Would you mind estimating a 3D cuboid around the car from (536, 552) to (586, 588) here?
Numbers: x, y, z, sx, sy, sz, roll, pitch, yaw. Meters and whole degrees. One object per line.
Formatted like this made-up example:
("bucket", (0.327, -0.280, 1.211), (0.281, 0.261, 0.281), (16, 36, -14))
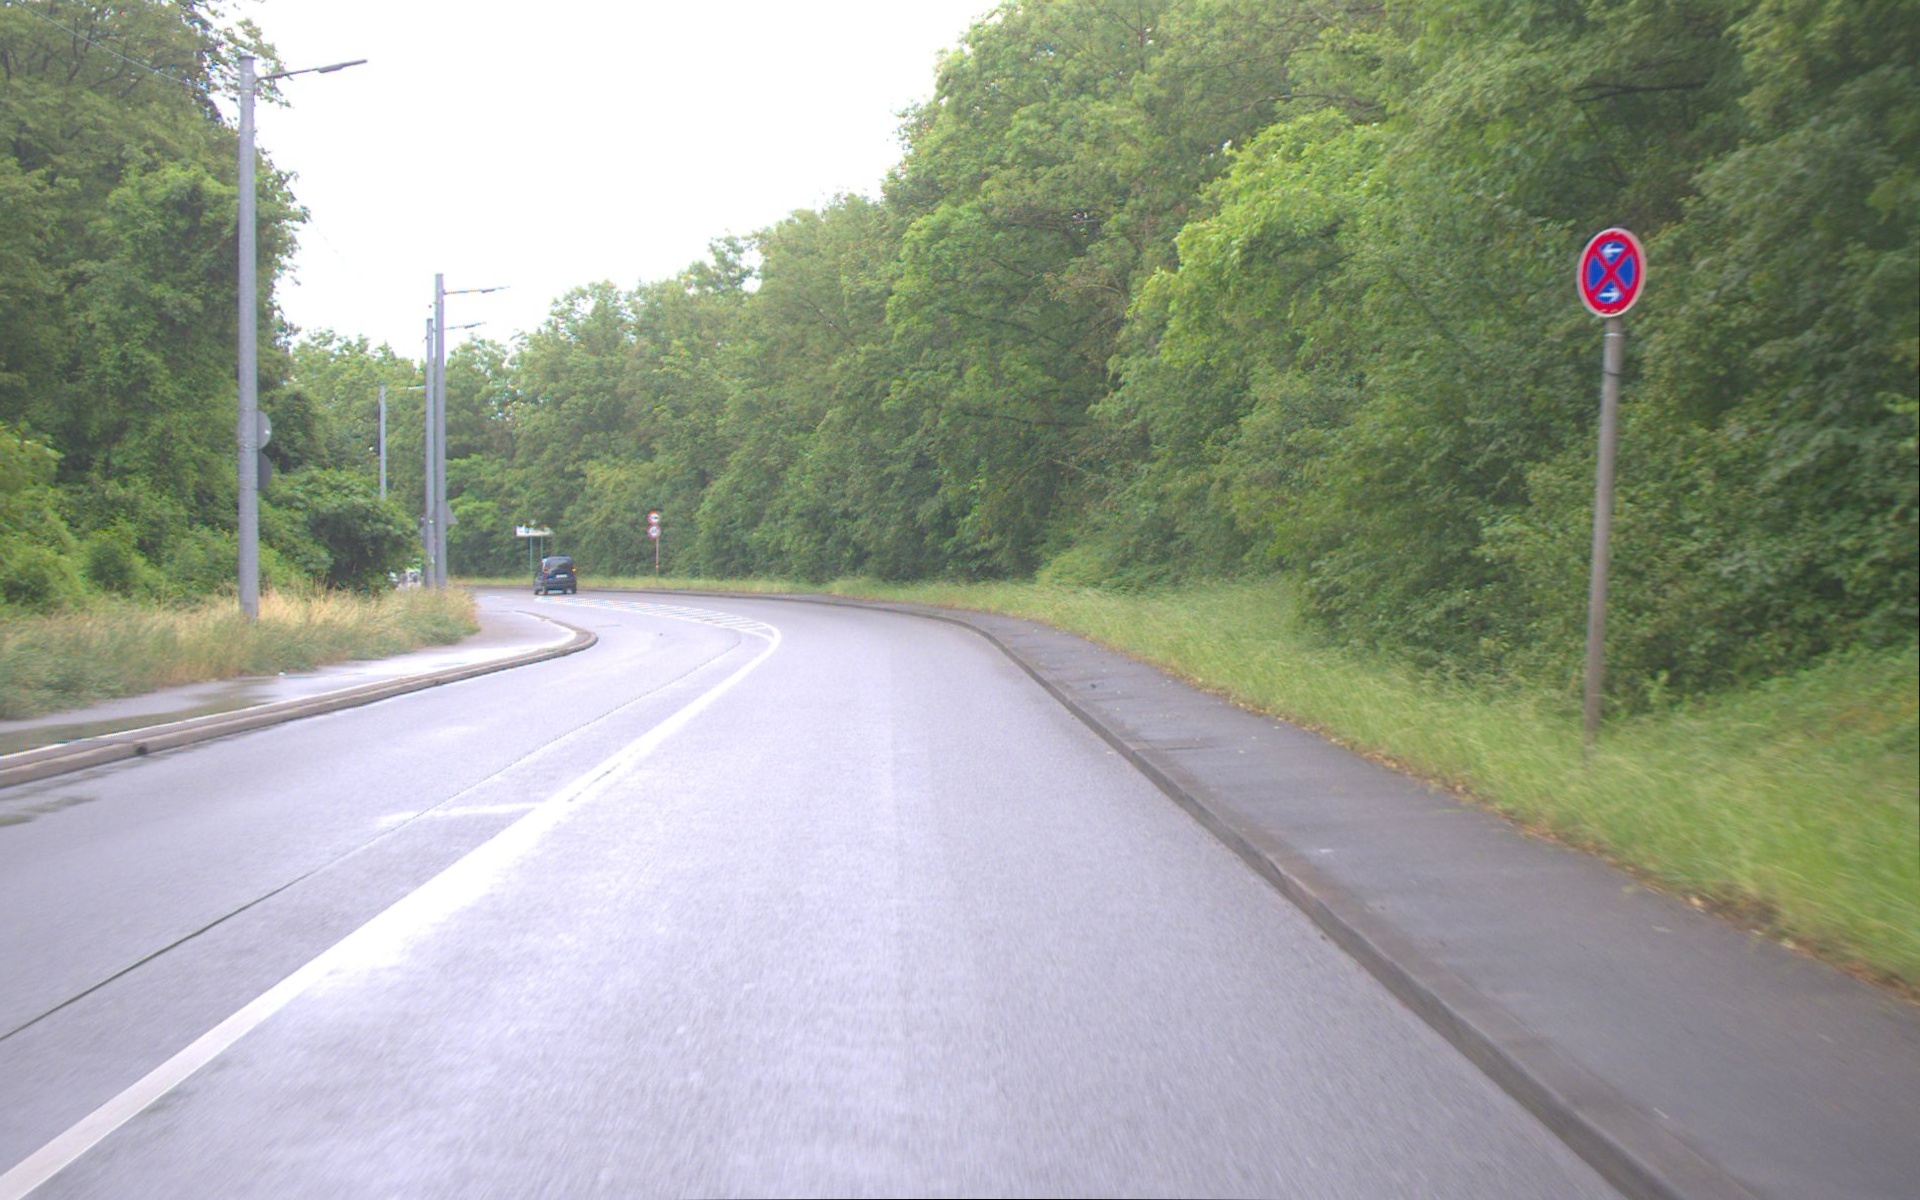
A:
("car", (-19.690, -1.481, 169.497), (1.867, 1.590, 4.001), (4, 0, -13))
